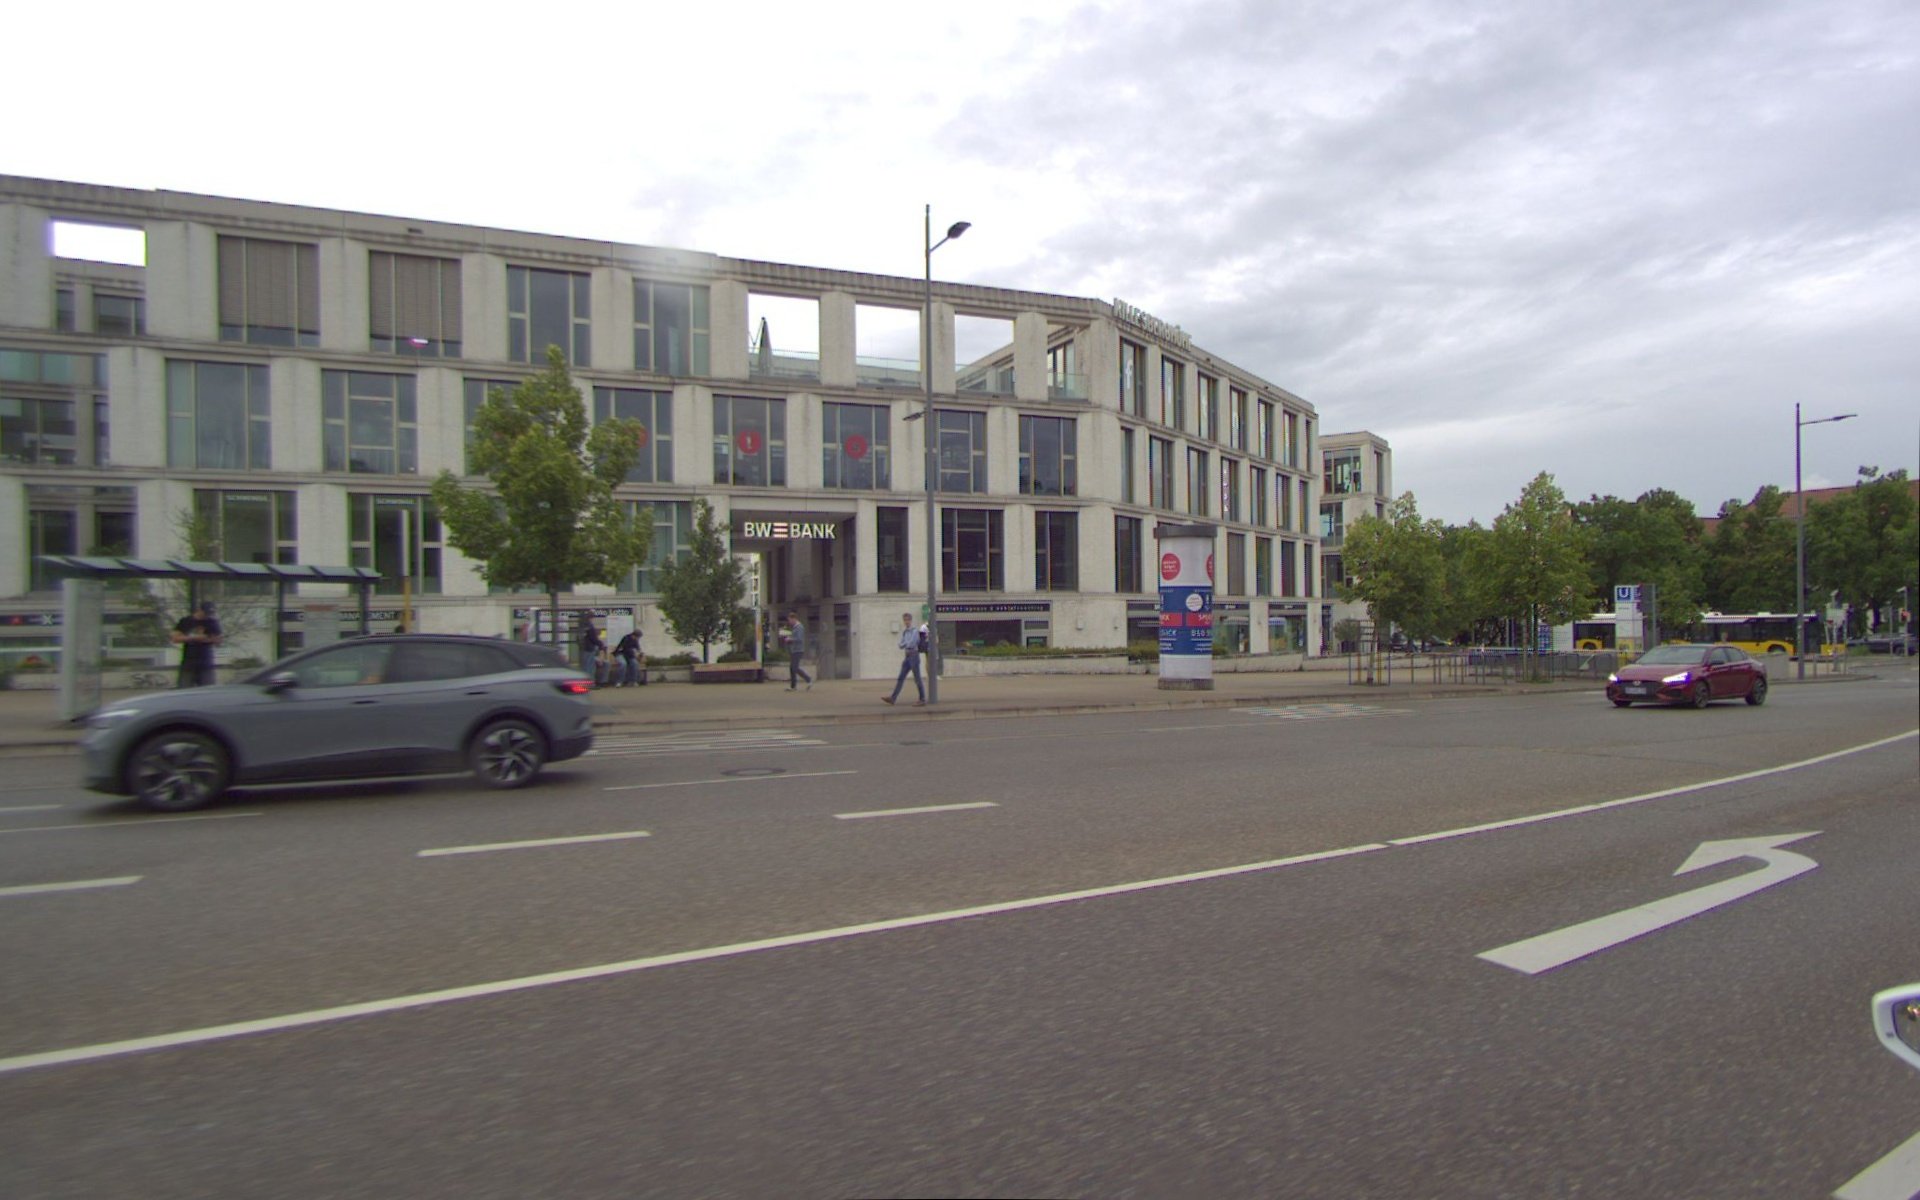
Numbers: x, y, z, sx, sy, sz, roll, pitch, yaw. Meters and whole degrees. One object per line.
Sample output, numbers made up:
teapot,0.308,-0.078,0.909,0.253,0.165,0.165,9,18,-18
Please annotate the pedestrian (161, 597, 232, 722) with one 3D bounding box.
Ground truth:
pedestrian,-11.686,0.902,15.394,0.747,1.866,0.505,2,-1,-30

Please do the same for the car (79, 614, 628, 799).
car,-6.043,1.062,10.614,4.539,1.592,1.824,2,-5,-30

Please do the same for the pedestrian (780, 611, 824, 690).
pedestrian,-3.647,1.169,23.223,0.846,1.785,0.596,2,-1,-27

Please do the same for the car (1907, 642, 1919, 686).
car,32.771,2.054,32.679,3.832,1.434,1.755,1,-4,-30

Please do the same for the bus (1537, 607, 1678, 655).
bus,47.876,2.269,74.618,2.860,3.351,8.519,1,-2,-26

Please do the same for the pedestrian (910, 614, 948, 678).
pedestrian,-0.823,1.231,27.029,0.492,1.712,0.910,0,-2,44

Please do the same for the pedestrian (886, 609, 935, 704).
pedestrian,-1.001,1.127,20.301,0.737,1.866,0.750,2,-1,-27

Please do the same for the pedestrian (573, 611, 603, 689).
pedestrian,-8.534,1.146,23.049,0.559,1.748,0.523,2,-1,-27

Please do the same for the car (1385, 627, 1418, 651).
car,34.232,3.017,77.780,1.749,1.754,3.990,-1,-2,33

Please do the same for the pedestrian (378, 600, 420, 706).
pedestrian,-10.230,0.957,18.313,0.600,1.880,0.577,2,-1,-31

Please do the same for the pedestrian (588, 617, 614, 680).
pedestrian,-8.551,1.149,23.928,0.504,1.470,0.424,2,-1,-29

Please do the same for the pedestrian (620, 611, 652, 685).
pedestrian,-7.794,1.143,24.157,0.613,1.748,0.424,2,-1,-29

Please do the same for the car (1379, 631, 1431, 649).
car,38.251,3.438,86.382,1.649,1.444,3.948,1,-1,-30

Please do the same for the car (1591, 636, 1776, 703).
car,16.962,1.601,23.511,4.412,1.434,1.824,1,-4,-30

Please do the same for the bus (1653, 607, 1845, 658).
bus,51.892,2.123,66.506,2.860,3.144,9.691,1,-2,-27
